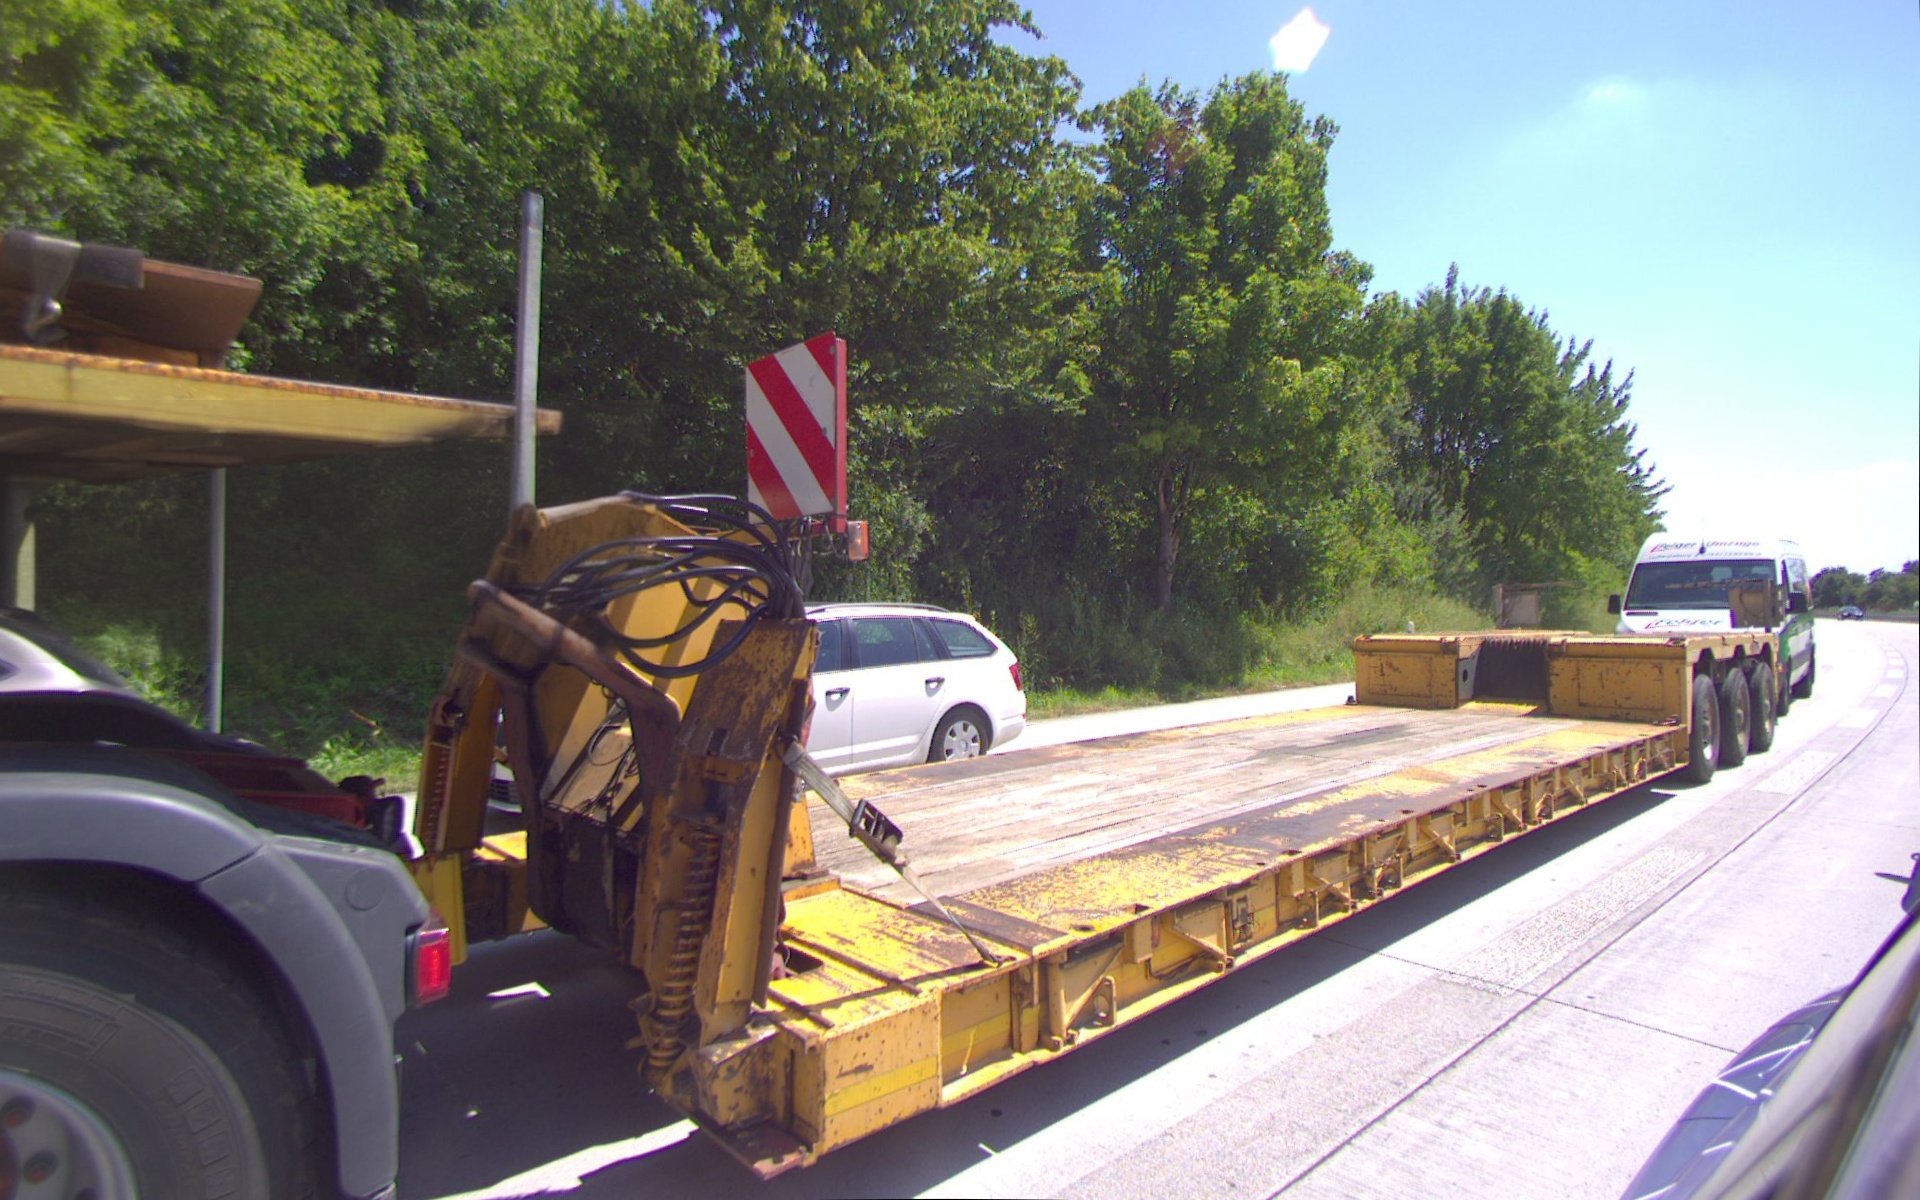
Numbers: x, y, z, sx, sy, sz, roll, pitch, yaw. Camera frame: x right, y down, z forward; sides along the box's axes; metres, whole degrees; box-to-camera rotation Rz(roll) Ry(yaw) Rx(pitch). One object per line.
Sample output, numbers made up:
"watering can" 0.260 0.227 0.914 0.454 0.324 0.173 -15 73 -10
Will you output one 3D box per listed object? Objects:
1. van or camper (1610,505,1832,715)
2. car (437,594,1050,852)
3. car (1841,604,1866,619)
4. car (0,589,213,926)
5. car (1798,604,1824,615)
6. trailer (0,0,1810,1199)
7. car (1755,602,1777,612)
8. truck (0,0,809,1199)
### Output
"van or camper" 11.745 0.090 15.419 2.063 2.606 5.815 0 0 43
"car" -1.449 0.696 8.037 4.521 1.480 1.769 0 0 -43
"car" 94.447 1.204 106.988 1.619 1.504 3.946 0 0 37
"car" -5.834 0.704 4.173 4.290 1.480 1.770 -1 1 -42
"car" 114.910 1.269 136.683 1.690 1.483 3.964 0 0 26
"trailer" 1.847 0.106 6.205 16.076 2.626 3.031 0 0 -42
"car" 123.950 1.078 155.624 1.874 1.483 3.961 0 0 28
"truck" -4.041 -0.507 0.854 7.342 3.820 3.017 0 0 -42
